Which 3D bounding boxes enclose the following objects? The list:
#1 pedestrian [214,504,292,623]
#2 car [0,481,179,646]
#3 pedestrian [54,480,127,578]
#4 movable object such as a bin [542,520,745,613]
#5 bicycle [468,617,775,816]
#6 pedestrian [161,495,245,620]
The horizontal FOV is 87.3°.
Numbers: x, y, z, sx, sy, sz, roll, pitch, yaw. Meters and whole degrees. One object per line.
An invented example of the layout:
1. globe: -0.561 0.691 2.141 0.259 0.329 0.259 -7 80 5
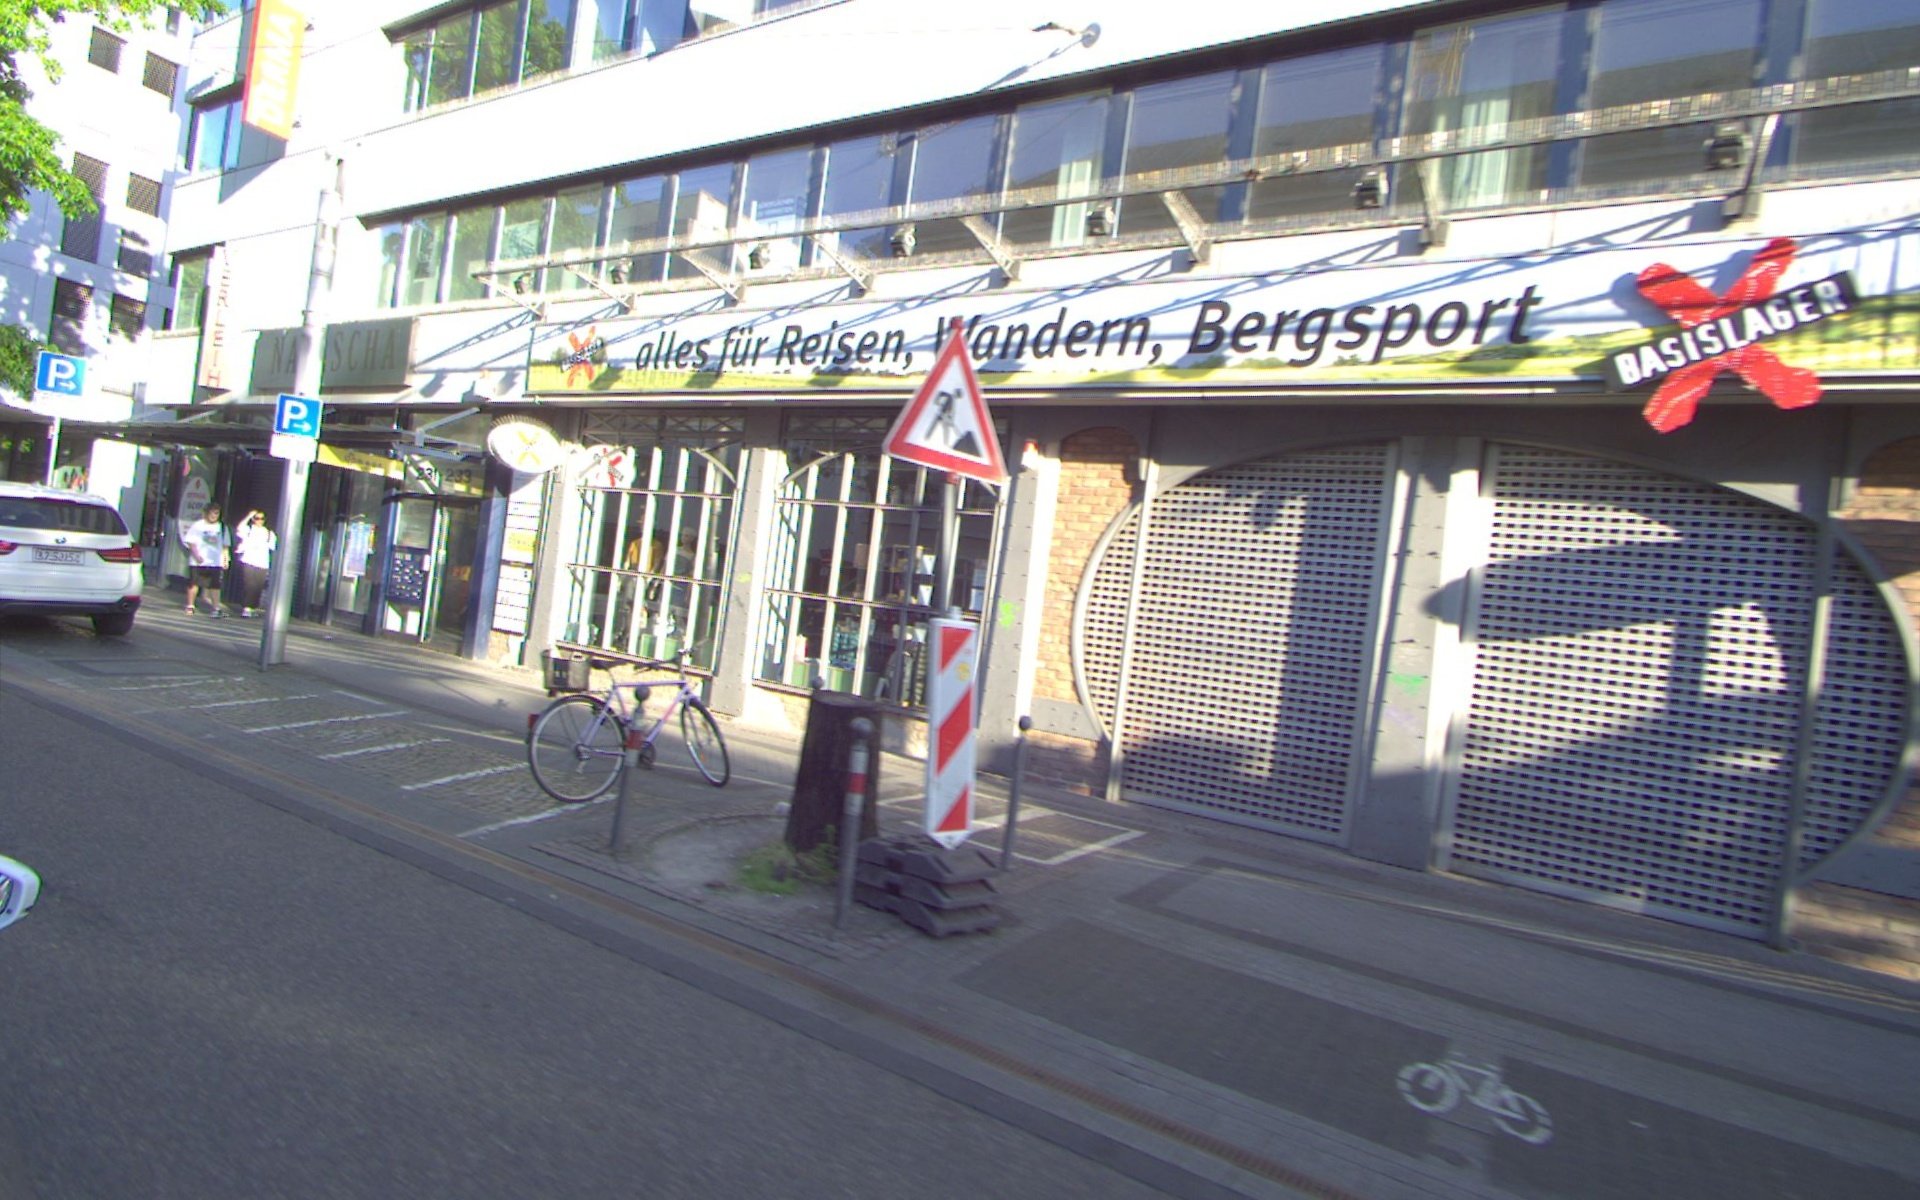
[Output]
1. pedestrian: -11.697 -0.599 16.652 0.624 1.852 0.689 7 0 31
2. car: -12.108 -0.612 12.561 4.824 1.760 2.025 7 2 30
3. pedestrian: -18.524 -1.508 21.438 0.903 1.921 0.834 7 1 34
4. movable object such as a bin: -14.239 -1.449 45.727 8.151 2.943 2.794 9 -2 -40
5. bicycle: -2.318 0.779 7.080 0.828 1.149 1.810 6 0 39
6. pedestrian: -12.029 -0.667 15.992 0.624 1.852 0.706 7 0 31
